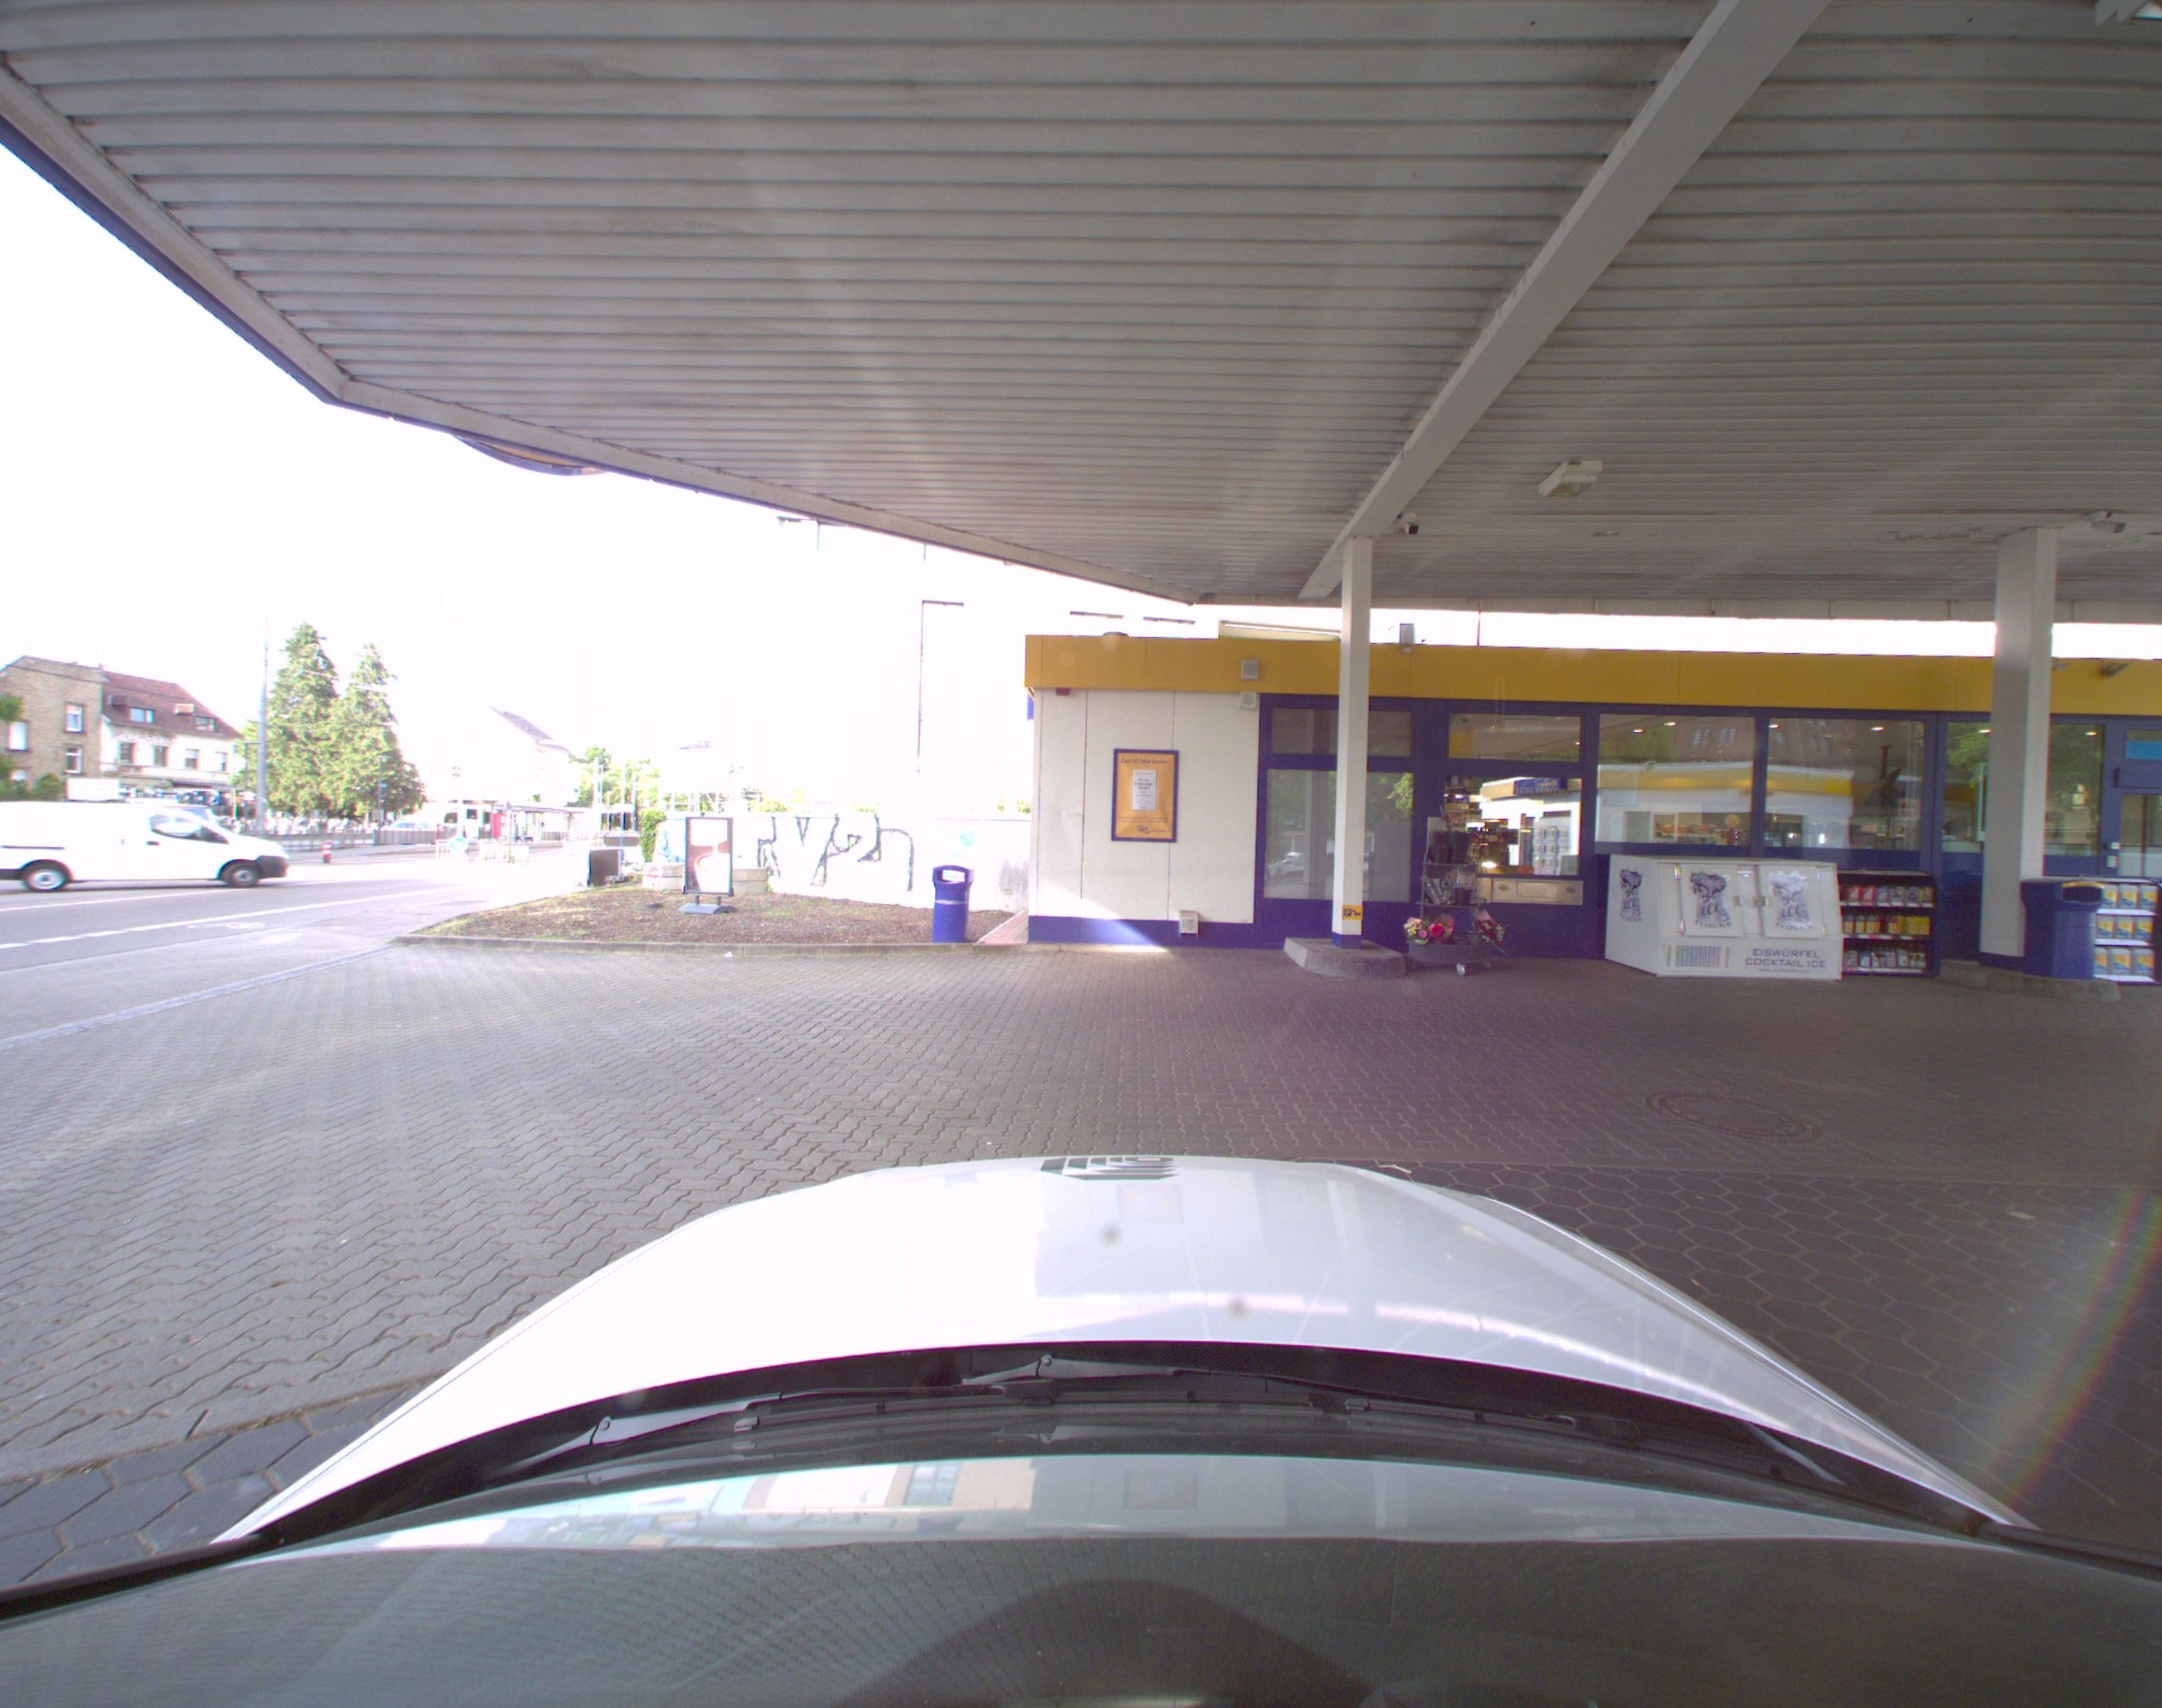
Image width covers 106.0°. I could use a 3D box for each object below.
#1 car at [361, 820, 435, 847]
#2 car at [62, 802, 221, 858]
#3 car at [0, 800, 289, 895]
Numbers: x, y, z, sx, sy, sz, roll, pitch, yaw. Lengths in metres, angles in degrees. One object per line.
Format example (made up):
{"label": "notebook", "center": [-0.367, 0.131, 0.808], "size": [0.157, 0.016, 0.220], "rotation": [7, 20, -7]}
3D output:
{"label": "car", "center": [-41.714, -1.291, 49.866], "size": [1.839, 1.576, 4.358], "rotation": [0, 2, -17]}
{"label": "car", "center": [-36.086, -0.931, 31.511], "size": [2.001, 1.968, 4.855], "rotation": [1, 2, -22]}
{"label": "car", "center": [-20.946, -0.137, 18.270], "size": [1.944, 1.889, 4.438], "rotation": [2, 1, 42]}
